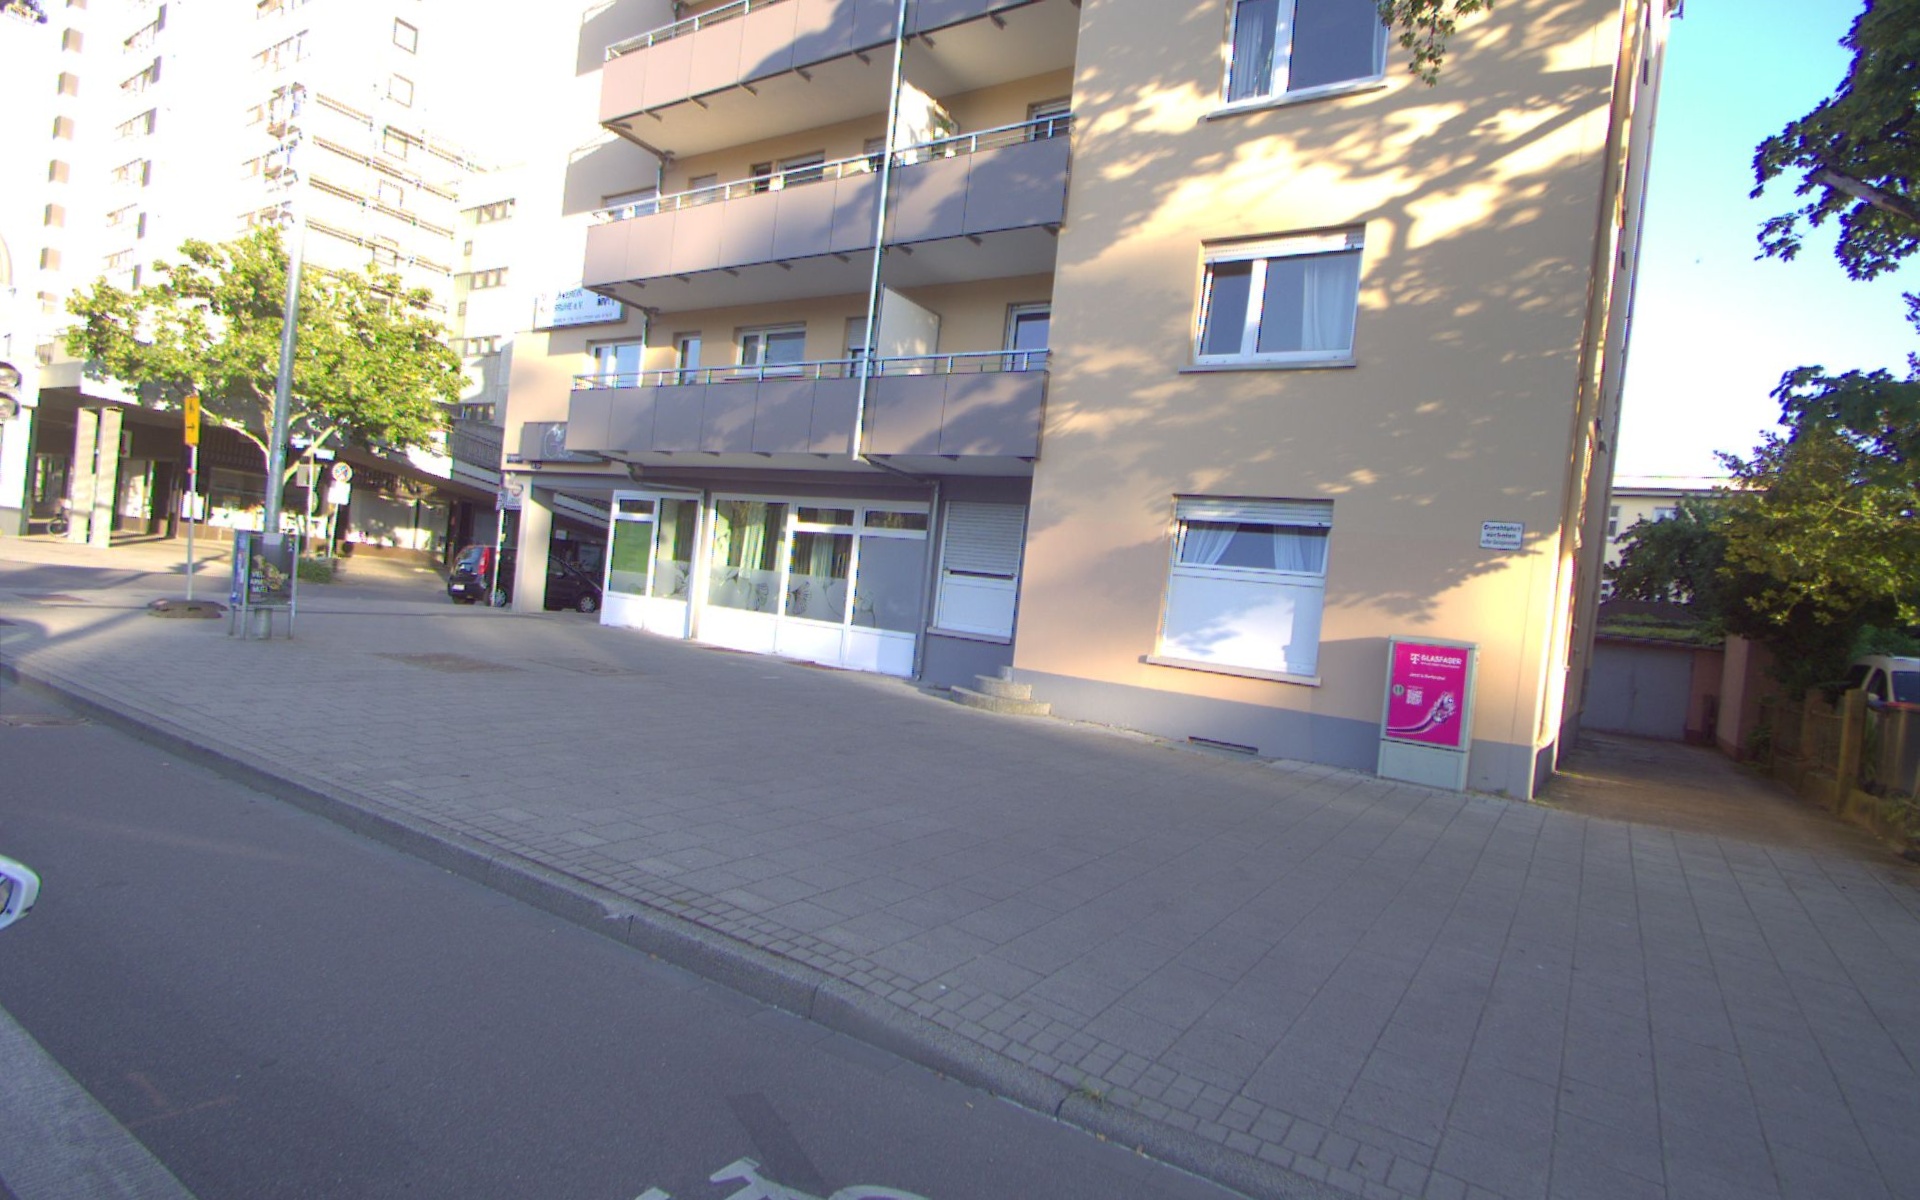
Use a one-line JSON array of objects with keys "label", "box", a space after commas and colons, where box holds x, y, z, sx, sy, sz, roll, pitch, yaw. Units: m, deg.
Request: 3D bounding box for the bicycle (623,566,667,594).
[{"label": "bicycle", "box": [-15.142, -0.960, 48.320, 1.941, 1.087, 0.583, 6, -2, 21]}]

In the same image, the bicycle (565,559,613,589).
[{"label": "bicycle", "box": [-17.003, -1.200, 46.107, 1.939, 1.087, 0.584, 7, -2, 13]}]

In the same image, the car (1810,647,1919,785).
[{"label": "car", "box": [14.581, 1.738, 14.972, 1.794, 1.780, 4.513, 8, 2, 27]}]

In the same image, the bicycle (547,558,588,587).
[{"label": "bicycle", "box": [-17.383, -1.235, 44.553, 1.946, 1.086, 0.581, 5, -3, 35]}]

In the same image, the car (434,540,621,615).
[{"label": "car", "box": [-10.877, -0.527, 25.559, 1.680, 1.605, 4.037, 3, -1, 36]}]

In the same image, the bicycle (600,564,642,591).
[{"label": "bicycle", "box": [-15.963, -1.065, 47.400, 1.943, 1.087, 0.582, 6, -3, 29]}]

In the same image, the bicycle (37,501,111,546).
[{"label": "bicycle", "box": [-28.973, -2.504, 32.916, 1.984, 1.162, 0.692, 7, -2, 14]}]

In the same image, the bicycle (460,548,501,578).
[{"label": "bicycle", "box": [-20.193, -1.566, 42.338, 1.946, 1.086, 0.581, 5, -3, 35]}]

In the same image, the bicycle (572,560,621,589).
[{"label": "bicycle", "box": [-16.812, -1.171, 46.550, 1.939, 1.086, 0.584, 7, -2, 9]}]

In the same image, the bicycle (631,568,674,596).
[{"label": "bicycle", "box": [-14.965, -0.885, 48.941, 1.941, 1.087, 0.583, 6, -2, 21]}]

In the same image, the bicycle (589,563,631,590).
[{"label": "bicycle", "box": [-16.329, -1.100, 46.962, 1.943, 1.087, 0.582, 6, -3, 29]}]

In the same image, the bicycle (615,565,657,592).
[{"label": "bicycle", "box": [-15.389, -1.019, 47.753, 1.942, 1.087, 0.583, 6, -3, 26]}]
